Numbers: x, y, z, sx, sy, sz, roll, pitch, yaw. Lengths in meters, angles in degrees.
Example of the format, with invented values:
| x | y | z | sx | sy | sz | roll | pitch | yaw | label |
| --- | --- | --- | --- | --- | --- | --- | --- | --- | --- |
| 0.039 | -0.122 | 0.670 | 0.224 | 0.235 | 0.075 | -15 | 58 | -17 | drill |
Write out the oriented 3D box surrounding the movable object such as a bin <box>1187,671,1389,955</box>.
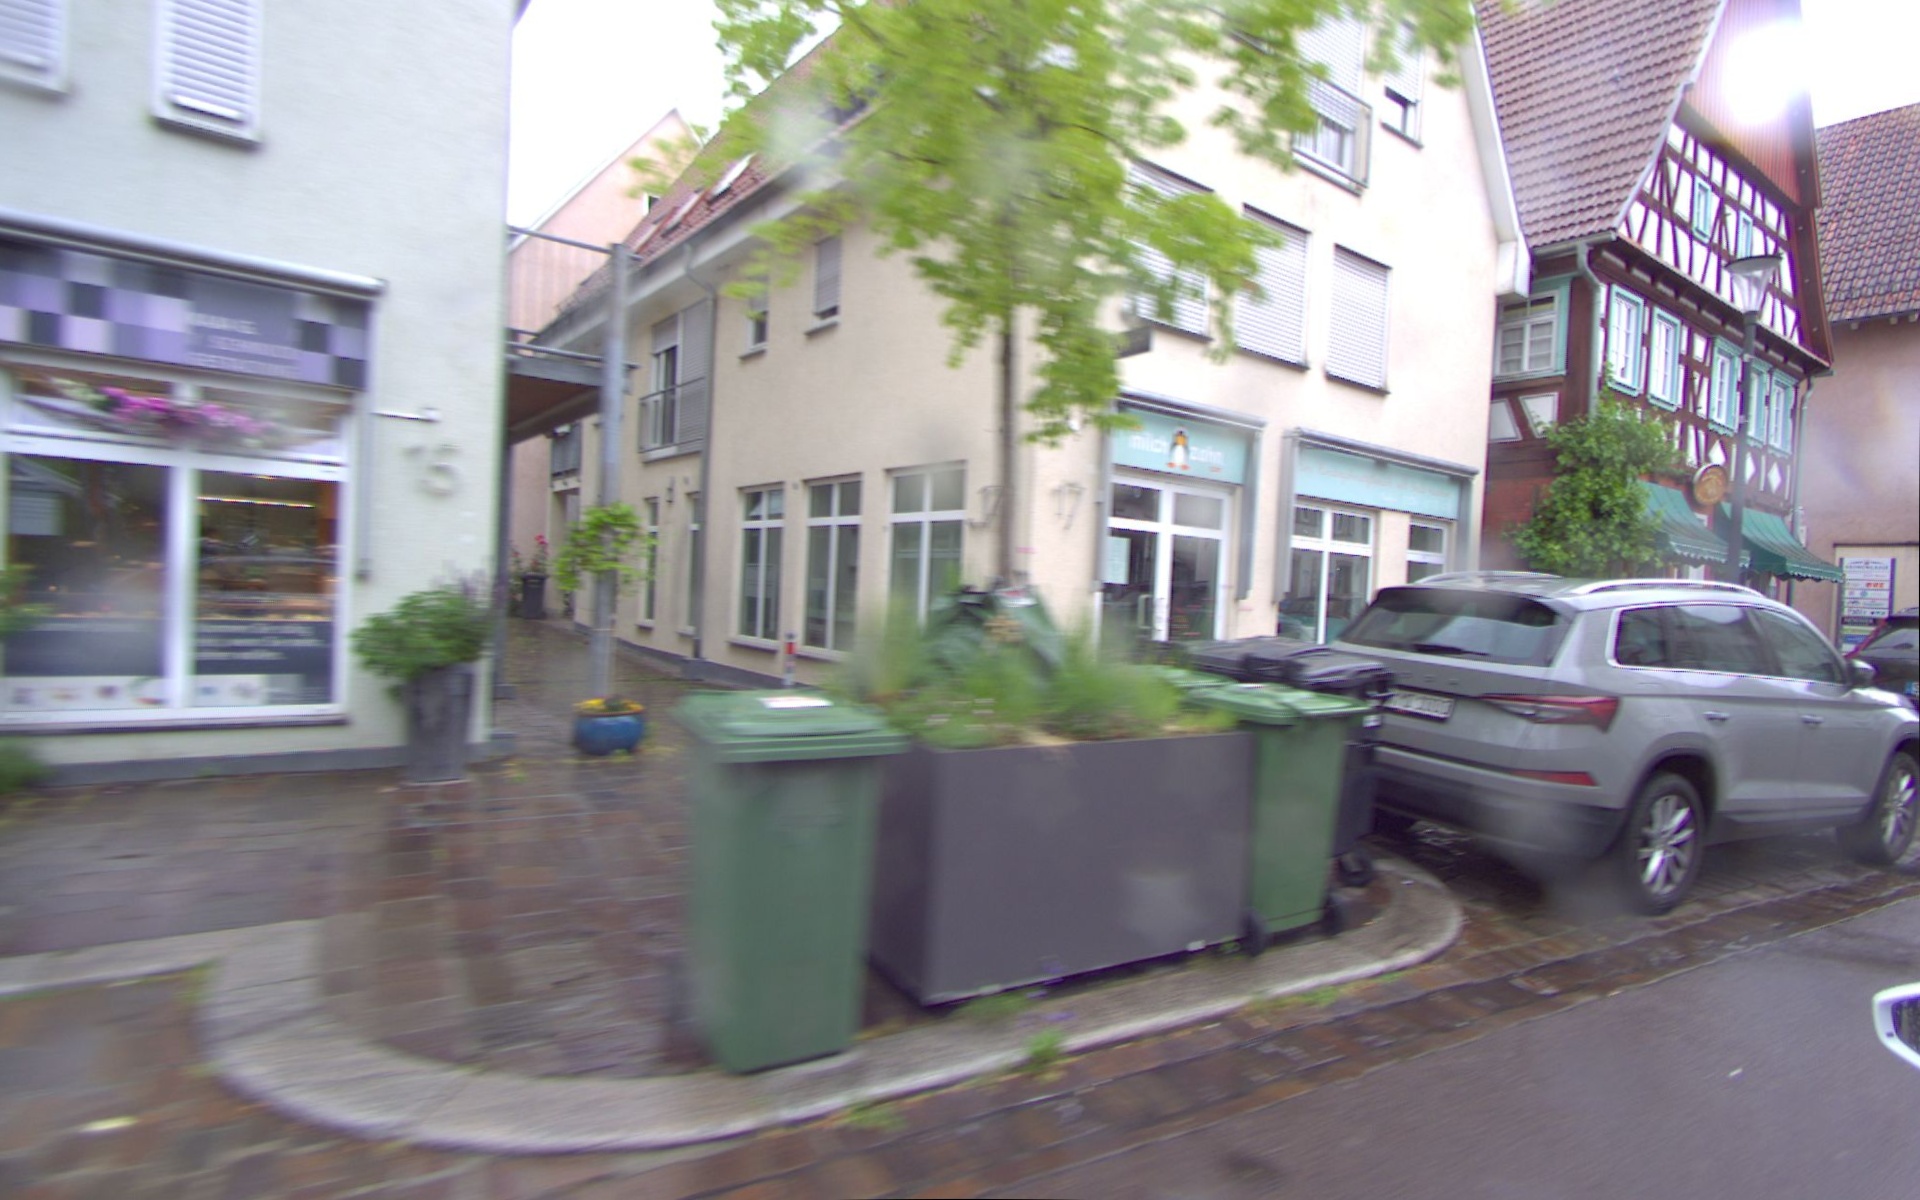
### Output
| x | y | z | sx | sy | sz | roll | pitch | yaw | label |
| --- | --- | --- | --- | --- | --- | --- | --- | --- | --- |
| 1.398 | 0.864 | 4.308 | 0.529 | 1.060 | 0.548 | 3 | 1 | -34 | movable object such as a bin |

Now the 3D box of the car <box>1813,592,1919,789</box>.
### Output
| x | y | z | sx | sy | sz | roll | pitch | yaw | label |
| --- | --- | --- | --- | --- | --- | --- | --- | --- | --- |
| 10.433 | 0.834 | 9.794 | 4.589 | 1.689 | 1.814 | 1 | 3 | -31 | car |

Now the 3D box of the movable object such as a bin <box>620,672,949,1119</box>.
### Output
| x | y | z | sx | sy | sz | roll | pitch | yaw | label |
| --- | --- | --- | --- | --- | --- | --- | --- | --- | --- |
| -0.571 | 0.820 | 3.150 | 0.736 | 1.097 | 0.742 | 3 | 1 | -32 | movable object such as a bin |

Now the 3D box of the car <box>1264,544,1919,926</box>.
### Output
| x | y | z | sx | sy | sz | roll | pitch | yaw | label |
| --- | --- | --- | --- | --- | --- | --- | --- | --- | --- |
| 4.305 | 0.680 | 6.364 | 4.587 | 1.688 | 1.815 | 4 | 1 | -30 | car |

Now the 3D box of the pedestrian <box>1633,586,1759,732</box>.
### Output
| x | y | z | sx | sy | sz | roll | pitch | yaw | label |
| --- | --- | --- | --- | --- | --- | --- | --- | --- | --- |
| 9.183 | 0.721 | 12.535 | 1.164 | 1.704 | 0.784 | 3 | 1 | -31 | pedestrian |

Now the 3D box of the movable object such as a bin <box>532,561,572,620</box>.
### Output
| x | y | z | sx | sy | sz | roll | pitch | yaw | label |
| --- | --- | --- | --- | --- | --- | --- | --- | --- | --- |
| -8.699 | -0.208 | 21.416 | 0.642 | 1.210 | 0.612 | 3 | 1 | -33 | movable object such as a bin |

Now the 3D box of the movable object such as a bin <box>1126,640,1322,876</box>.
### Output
| x | y | z | sx | sy | sz | roll | pitch | yaw | label |
| --- | --- | --- | --- | --- | --- | --- | --- | --- | --- |
| 1.437 | 0.821 | 5.490 | 0.773 | 1.135 | 0.612 | 3 | 1 | -33 | movable object such as a bin |

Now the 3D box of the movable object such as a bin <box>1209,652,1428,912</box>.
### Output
| x | y | z | sx | sy | sz | roll | pitch | yaw | label |
| --- | --- | --- | --- | --- | --- | --- | --- | --- | --- |
| 1.768 | 0.851 | 4.974 | 0.773 | 1.116 | 0.612 | 3 | 1 | -33 | movable object such as a bin |
